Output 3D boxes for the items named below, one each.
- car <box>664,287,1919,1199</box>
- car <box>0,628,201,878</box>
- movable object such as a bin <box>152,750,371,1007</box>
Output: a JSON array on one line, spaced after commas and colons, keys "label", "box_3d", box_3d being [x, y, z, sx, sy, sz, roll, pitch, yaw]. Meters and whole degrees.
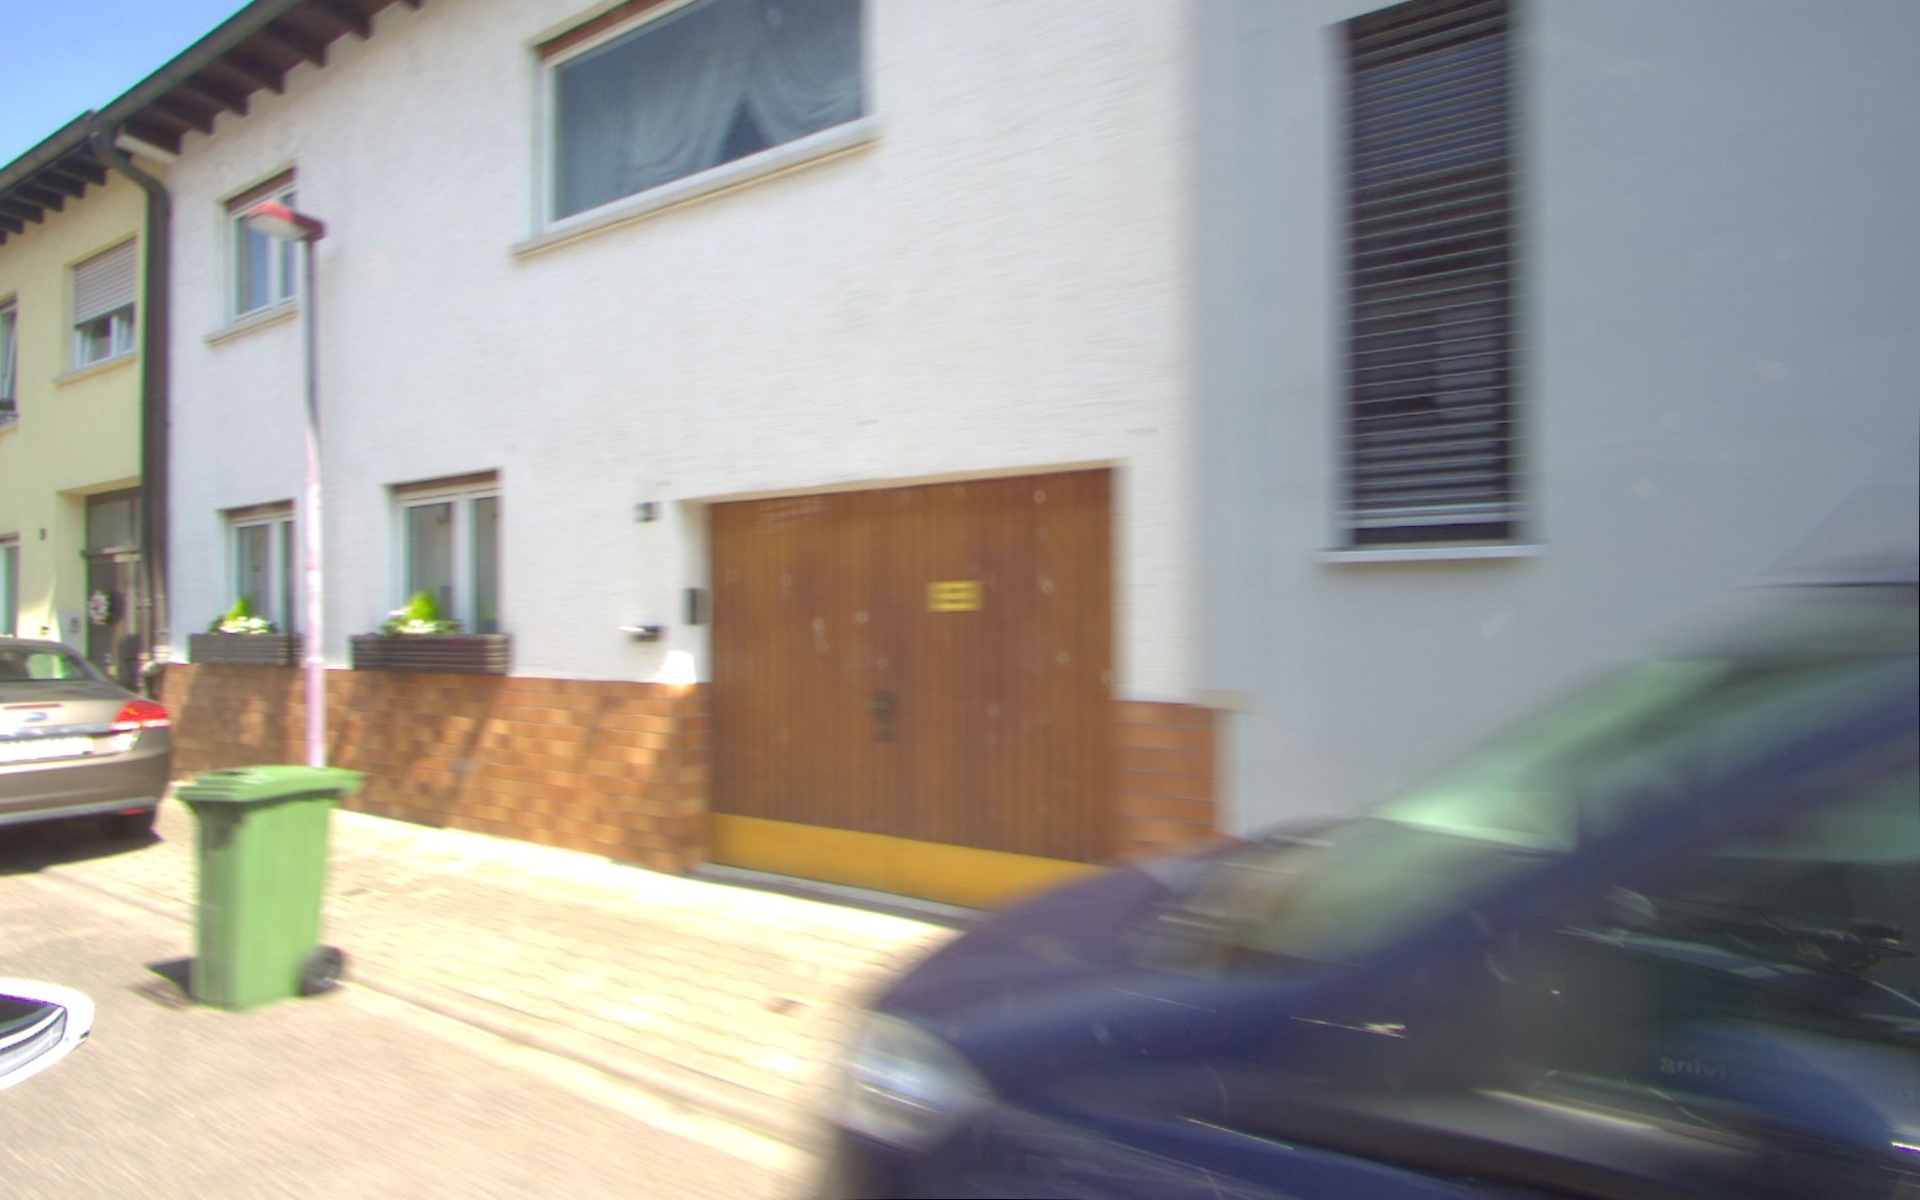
[{"label": "car", "box_3d": [1.766, 0.679, 1.149, 4.137, 1.800, 1.695, -1, -2, 31]}, {"label": "car", "box_3d": [-7.235, 0.922, 7.004, 4.043, 1.453, 1.695, -1, -2, 31]}, {"label": "movable object such as a bin", "box_3d": [-2.939, 1.127, 4.234, 0.570, 0.903, 0.550, -1, -1, 25]}]
